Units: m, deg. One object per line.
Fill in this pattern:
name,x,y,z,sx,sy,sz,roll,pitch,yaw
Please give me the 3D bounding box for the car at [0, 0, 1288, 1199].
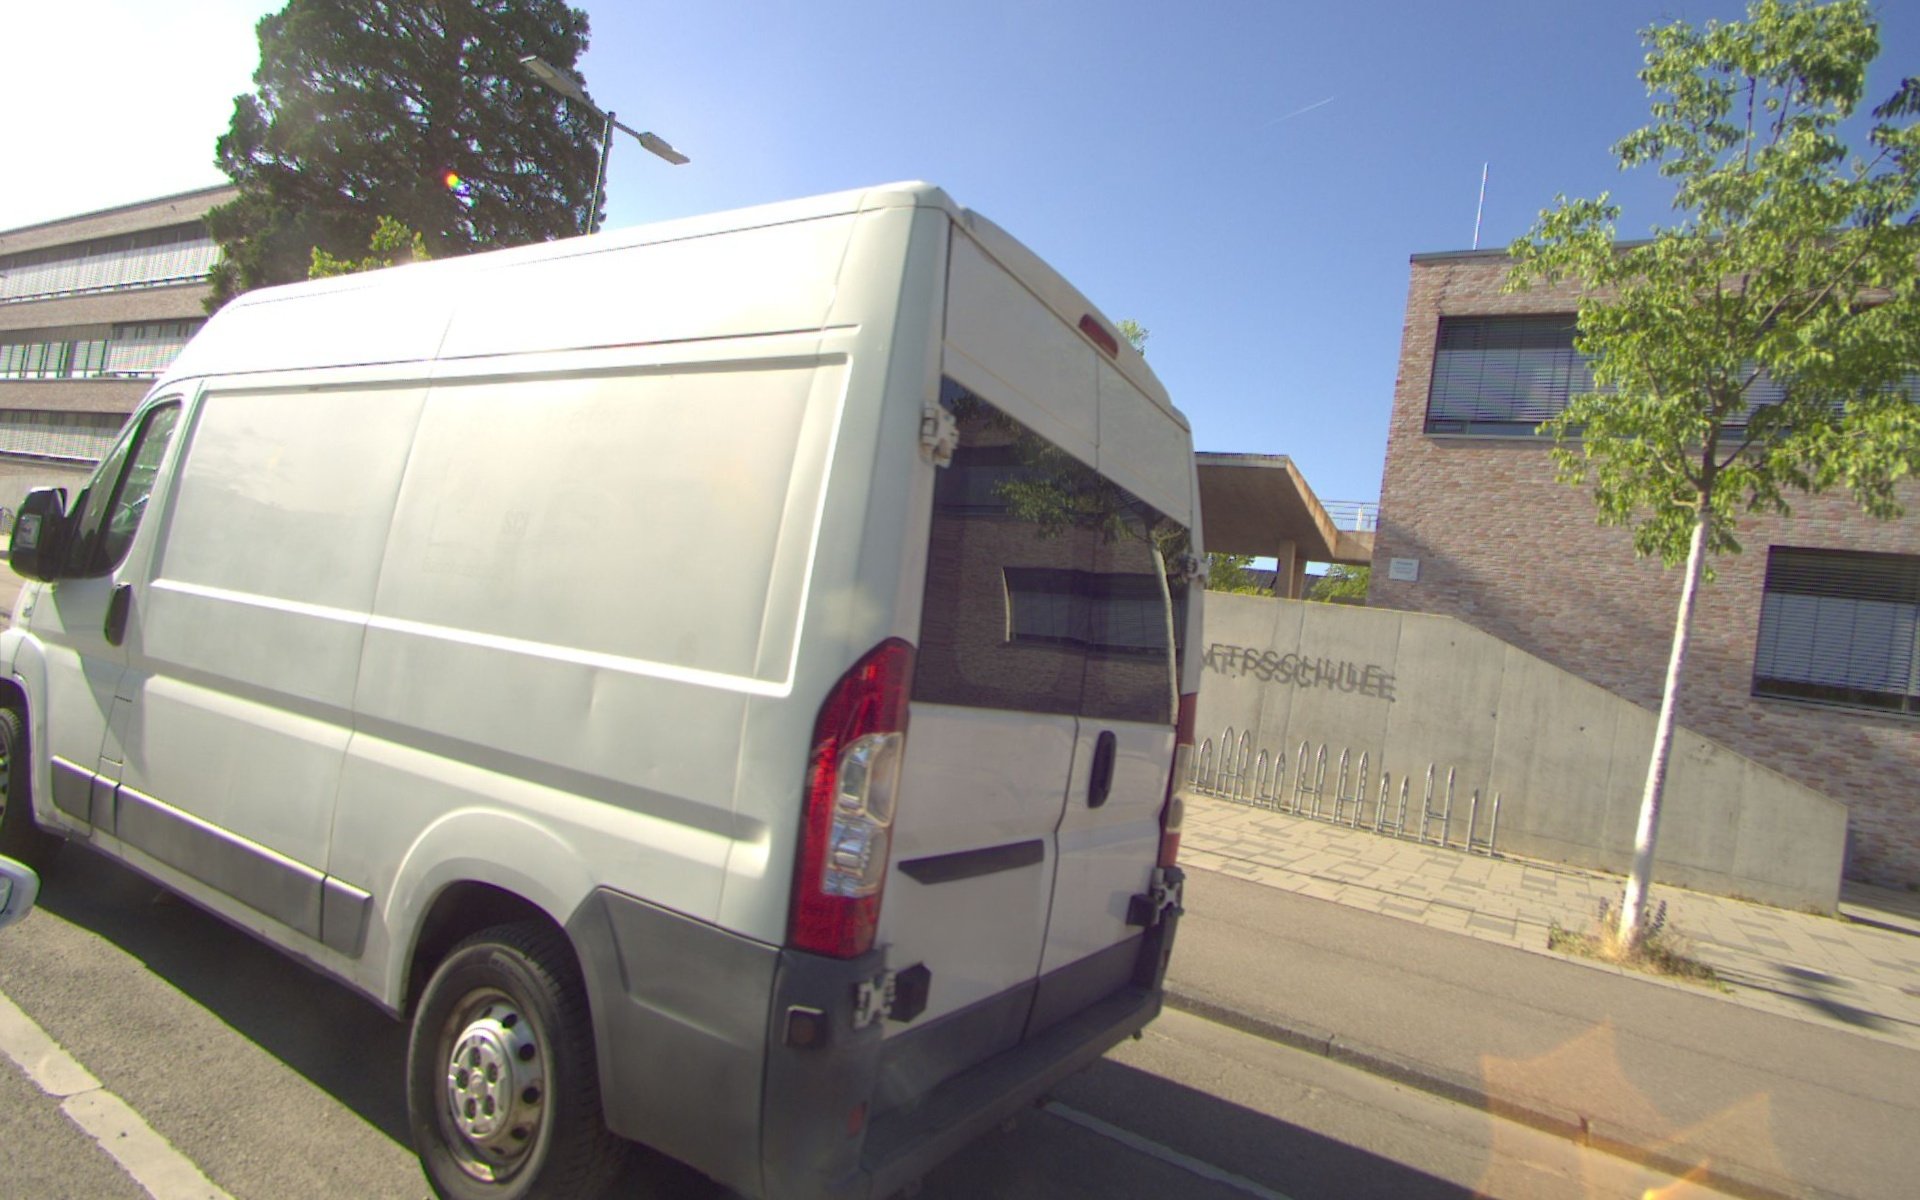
car,-1.811,0.096,4.083,5.342,2.602,2.247,7,-3,32
